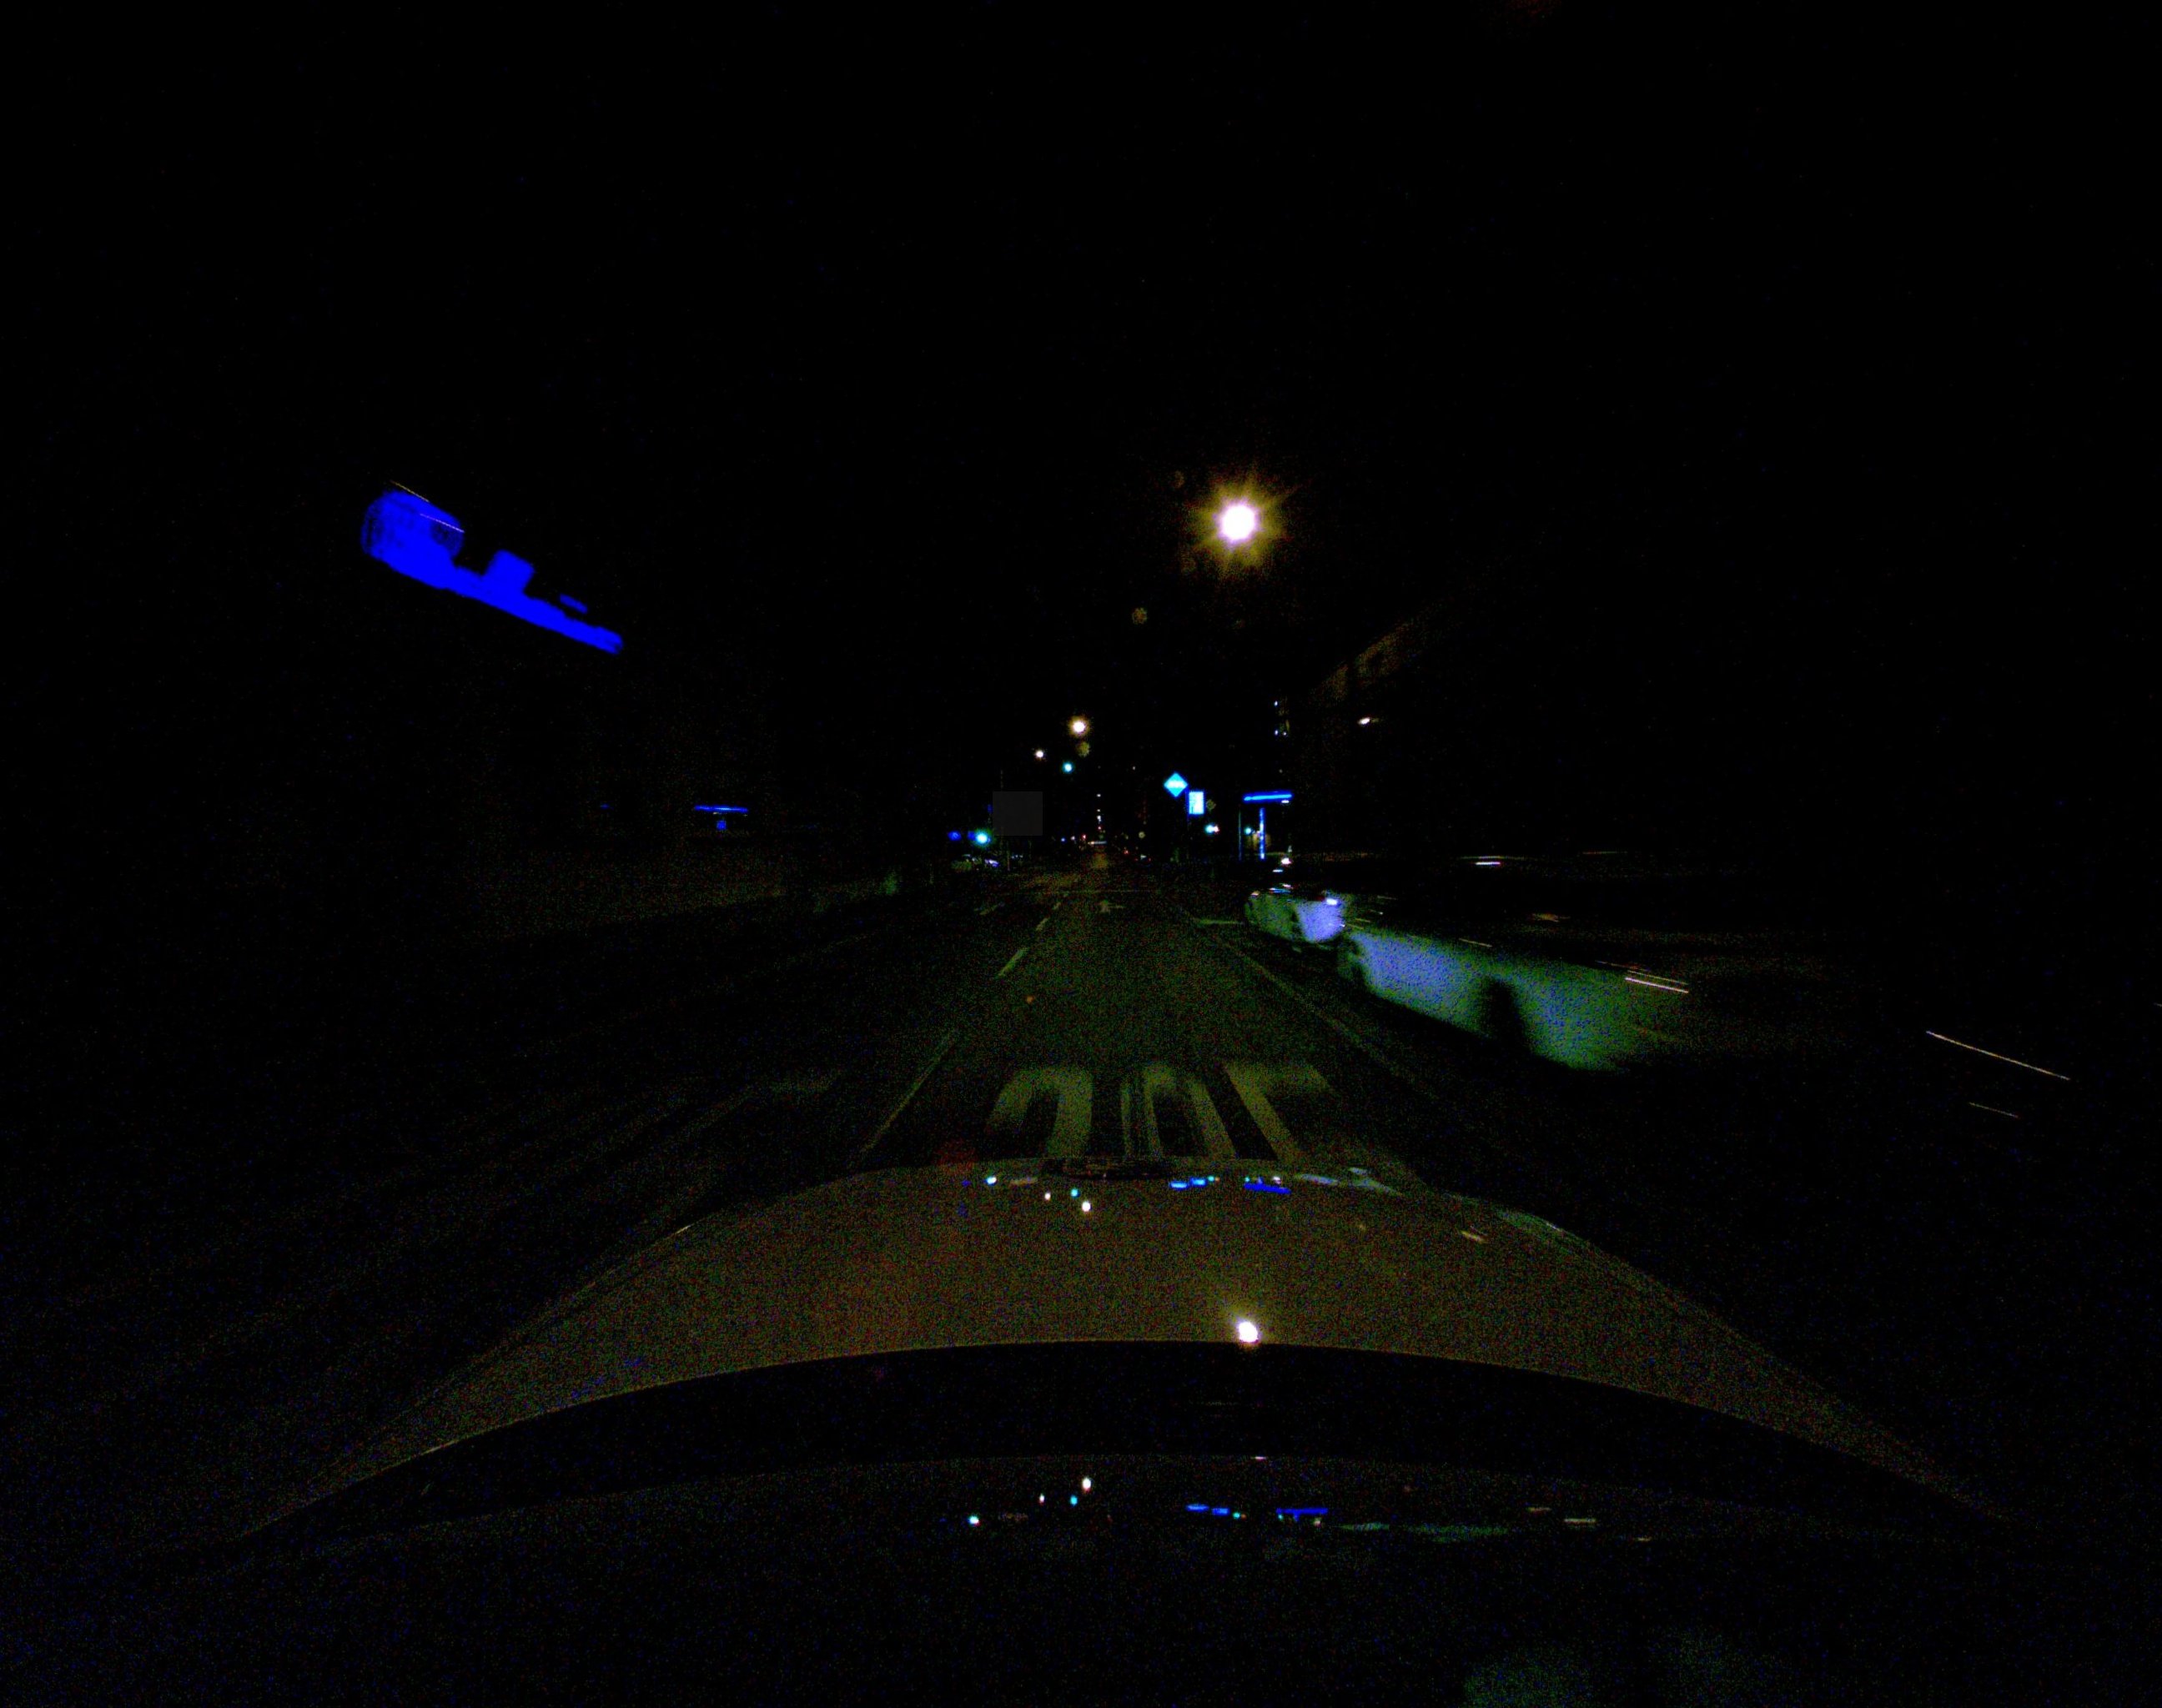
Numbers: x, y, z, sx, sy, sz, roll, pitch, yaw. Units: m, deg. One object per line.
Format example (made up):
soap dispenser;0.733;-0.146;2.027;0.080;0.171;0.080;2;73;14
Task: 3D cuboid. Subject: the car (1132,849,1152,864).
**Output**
car;6.022;0.229;80.753;1.985;1.516;4.003;0;0;3

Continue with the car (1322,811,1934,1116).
car;3.512;0.581;6.490;1.769;1.544;4.544;-1;-1;-1

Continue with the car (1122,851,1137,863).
car;6.622;0.417;112.020;1.985;1.520;4.003;-1;-1;3

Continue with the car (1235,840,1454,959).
car;3.793;0.594;12.658;1.854;1.489;4.544;-1;-1;-1

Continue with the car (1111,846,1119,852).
car;8.352;-1.172;200.369;1.985;1.520;4.003;-1;-1;3

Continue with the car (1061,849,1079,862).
car;-1.345;0.168;99.447;1.986;1.502;4.001;-1;-1;1

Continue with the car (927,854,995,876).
car;-8.372;0.786;57.056;4.423;1.449;2.000;-1;-1;1

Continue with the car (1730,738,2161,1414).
car;3.481;0.509;0.975;1.818;1.623;4.457;-2;0;0

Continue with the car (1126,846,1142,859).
car;6.742;-0.158;104.597;1.985;1.520;4.003;-1;-1;3

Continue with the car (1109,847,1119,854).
car;7.159;-0.709;176.982;1.985;1.520;4.003;-1;-1;3

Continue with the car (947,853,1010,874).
car;-7.543;0.670;60.188;4.425;1.449;2.000;-1;-1;0

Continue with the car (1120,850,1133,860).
car;7.238;0.148;129.243;1.985;1.520;4.003;-1;-1;3

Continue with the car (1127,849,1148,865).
car;5.939;0.300;85.668;1.987;1.596;4.000;0;0;0
